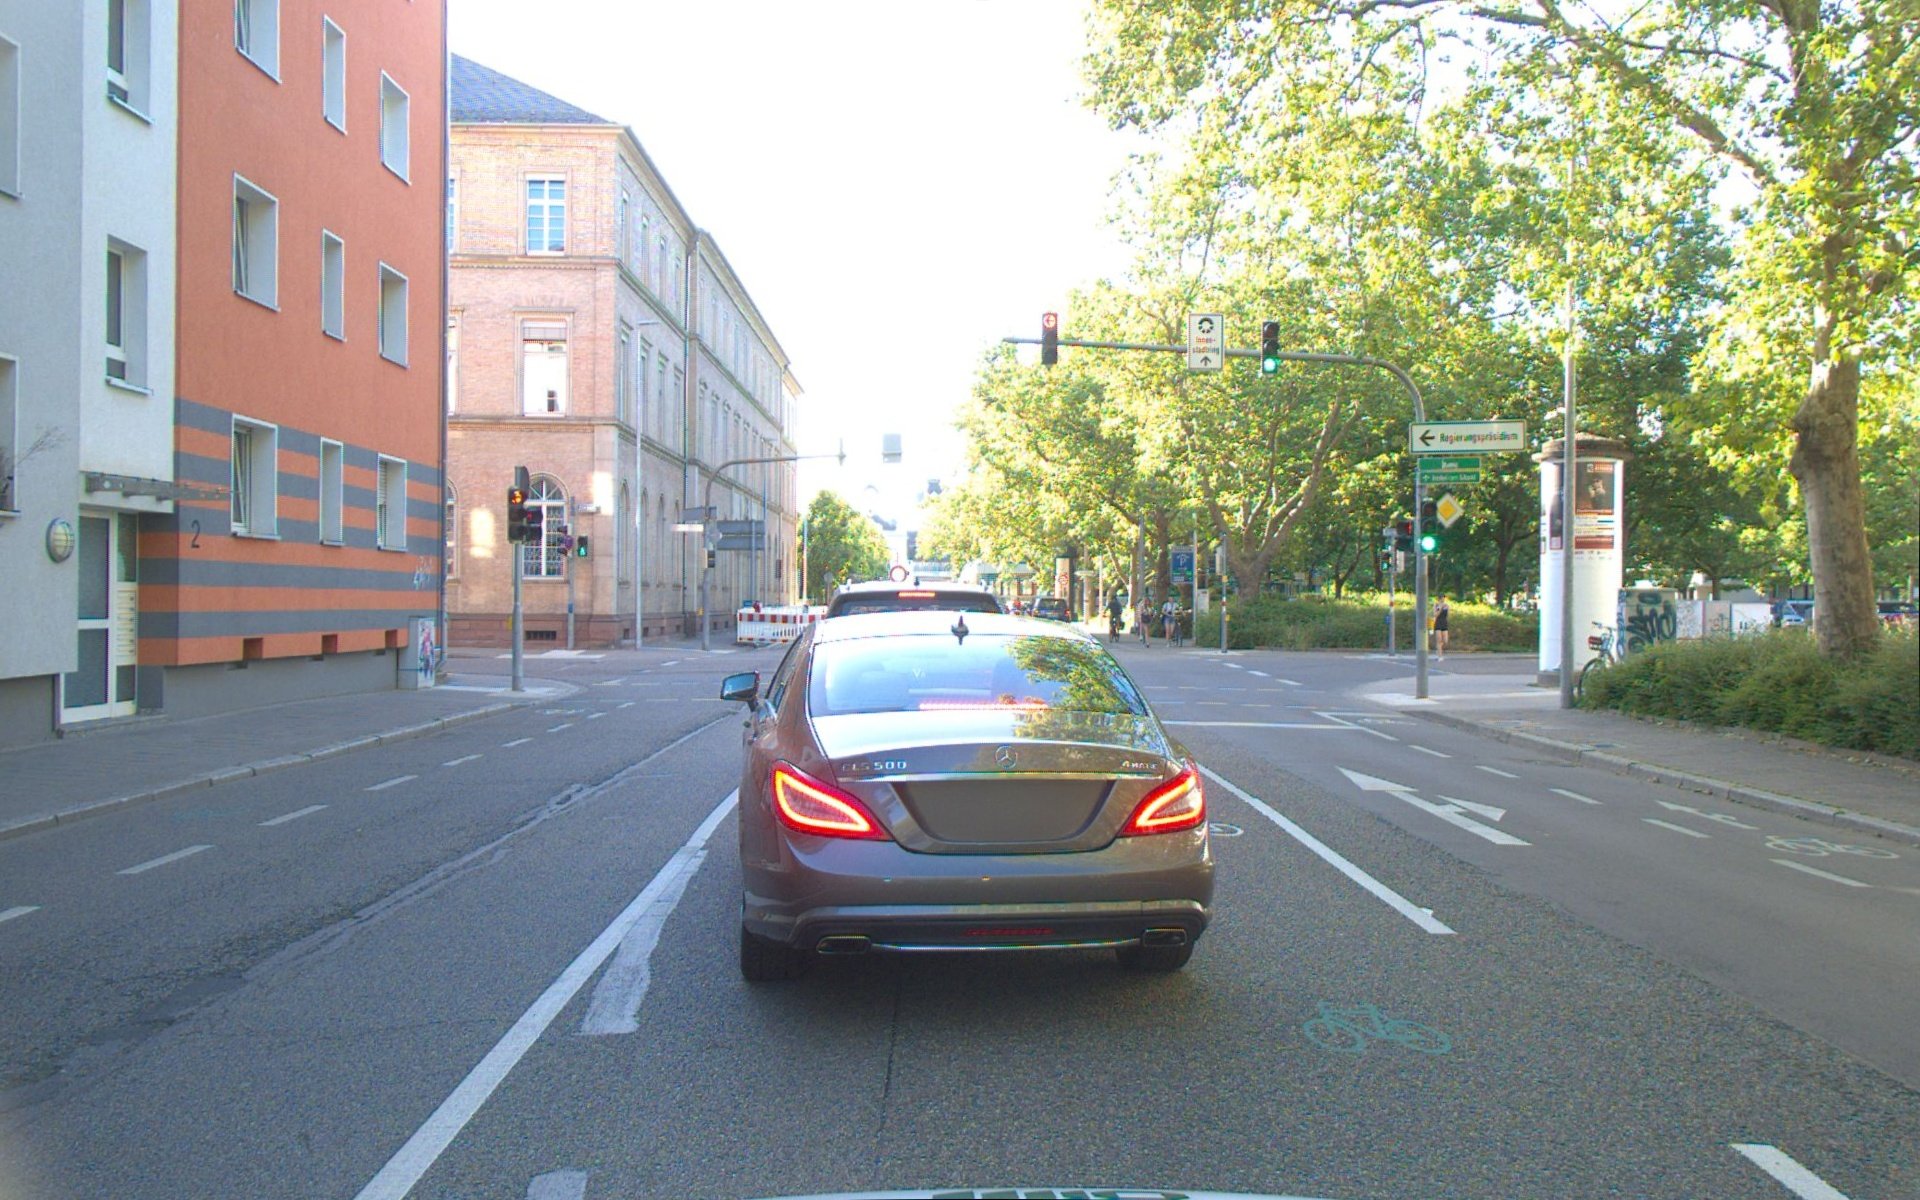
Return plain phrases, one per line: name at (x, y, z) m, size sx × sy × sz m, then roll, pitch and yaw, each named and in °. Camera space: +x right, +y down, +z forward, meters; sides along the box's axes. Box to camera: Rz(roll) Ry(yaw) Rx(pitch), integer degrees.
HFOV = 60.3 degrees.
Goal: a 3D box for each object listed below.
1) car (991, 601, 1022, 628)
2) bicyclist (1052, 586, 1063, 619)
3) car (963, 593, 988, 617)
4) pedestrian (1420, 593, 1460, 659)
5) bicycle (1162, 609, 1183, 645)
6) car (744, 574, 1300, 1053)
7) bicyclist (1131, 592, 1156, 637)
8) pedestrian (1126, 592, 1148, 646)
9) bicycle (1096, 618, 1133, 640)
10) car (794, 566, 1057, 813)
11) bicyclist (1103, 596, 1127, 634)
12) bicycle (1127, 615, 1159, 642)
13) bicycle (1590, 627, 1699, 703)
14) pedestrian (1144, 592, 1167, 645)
car at (2.741, 0.822, 98.886) m, size 1.670 × 1.545 × 3.999 m, roll 1°, pitch 0°, yaw -1°
bicyclist at (6.179, 0.173, 104.916) m, size 0.583 × 2.075 × 0.565 m, roll 1°, pitch -1°, yaw -5°
car at (1.087, 0.356, 118.241) m, size 1.696 × 1.691 × 3.680 m, roll 1°, pitch 0°, yaw -1°
pedestrian at (11.735, 0.627, 40.474) m, size 0.623 × 1.572 × 0.909 m, roll 1°, pitch 0°, yaw -6°
bicycle at (7.274, 0.927, 56.768) m, size 0.472 × 1.223 × 1.606 m, roll 1°, pitch 0°, yaw -1°
car at (-0.030, 0.691, 7.462) m, size 1.826 × 1.545 × 3.993 m, roll 1°, pitch 0°, yaw -8°
bicyclist at (6.739, 0.536, 60.780) m, size 0.808 × 1.646 × 0.957 m, roll 1°, pitch 0°, yaw -1°
pedestrian at (6.076, 0.639, 56.806) m, size 0.623 × 1.828 × 0.698 m, roll 1°, pitch -1°, yaw -5°
bicycle at (5.938, 1.105, 63.433) m, size 0.709 × 0.805 × 1.925 m, roll 1°, pitch 0°, yaw 27°
car at (-0.267, 0.621, 13.590) m, size 1.823 × 1.712 × 3.999 m, roll 1°, pitch 0°, yaw -1°
bicyclist at (5.944, 0.576, 63.423) m, size 0.719 × 1.422 × 0.697 m, roll 1°, pitch -1°, yaw 28°
bicycle at (6.727, 1.048, 60.922) m, size 0.811 × 0.940 × 2.616 m, roll 1°, pitch 0°, yaw -1°
bicycle at (9.873, 0.926, 23.836) m, size 1.868 × 1.046 × 0.633 m, roll 1°, pitch -1°, yaw -39°
pedestrian at (6.727, 0.637, 56.844) m, size 0.623 × 1.791 × 0.698 m, roll 1°, pitch -1°, yaw -5°
